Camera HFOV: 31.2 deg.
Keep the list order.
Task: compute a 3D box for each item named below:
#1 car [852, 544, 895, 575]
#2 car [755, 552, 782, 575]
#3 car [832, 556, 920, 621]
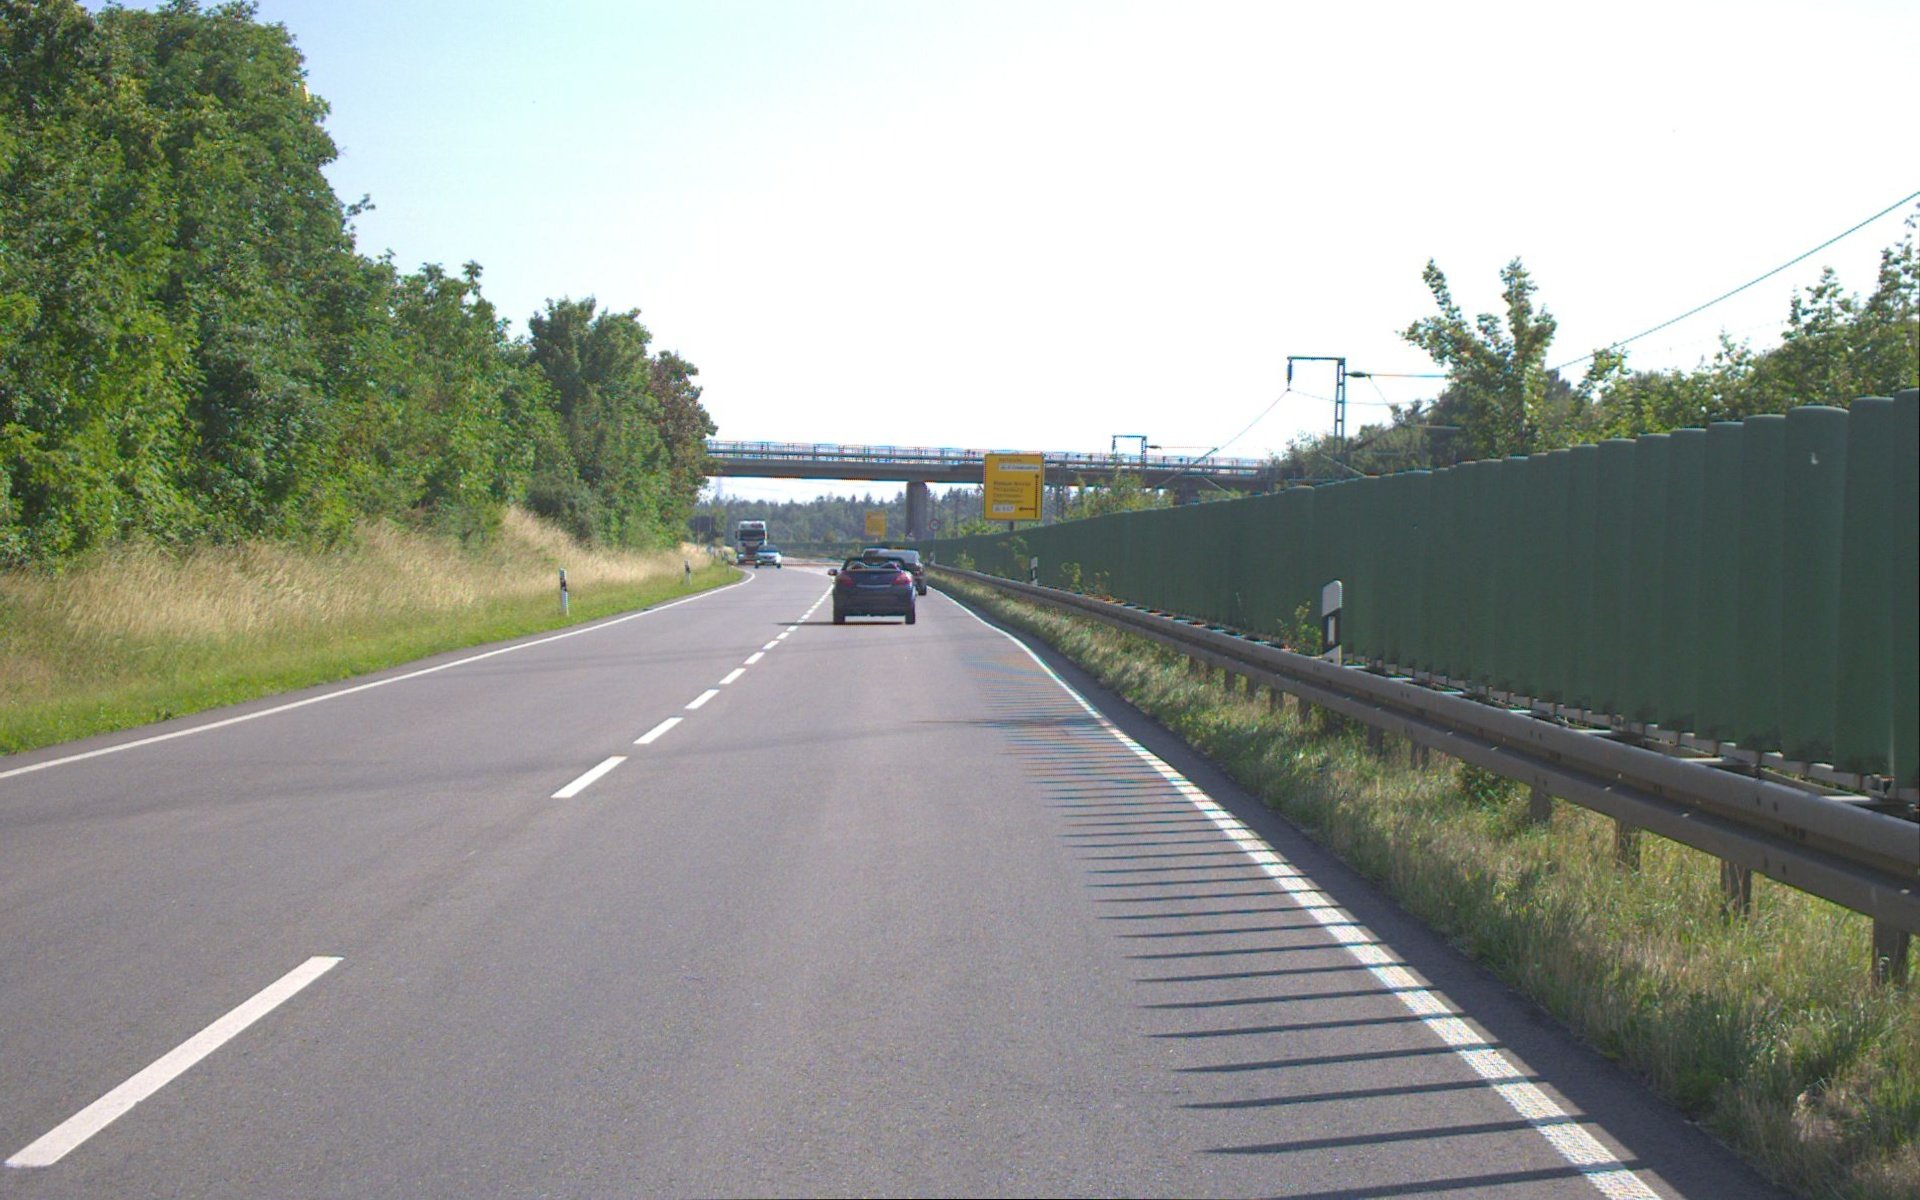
[{"bbox_3d":[-4.062,-1.883,160.200,1.895,1.413,4.000,1,0,-3],"label":"car"},{"bbox_3d":[-13.219,-2.519,237.433,1.795,1.588,4.000,1,0,-3],"label":"car"},{"bbox_3d":[-1.711,-0.245,68.966,1.663,1.257,4.000,1,0,-3],"label":"car"}]
